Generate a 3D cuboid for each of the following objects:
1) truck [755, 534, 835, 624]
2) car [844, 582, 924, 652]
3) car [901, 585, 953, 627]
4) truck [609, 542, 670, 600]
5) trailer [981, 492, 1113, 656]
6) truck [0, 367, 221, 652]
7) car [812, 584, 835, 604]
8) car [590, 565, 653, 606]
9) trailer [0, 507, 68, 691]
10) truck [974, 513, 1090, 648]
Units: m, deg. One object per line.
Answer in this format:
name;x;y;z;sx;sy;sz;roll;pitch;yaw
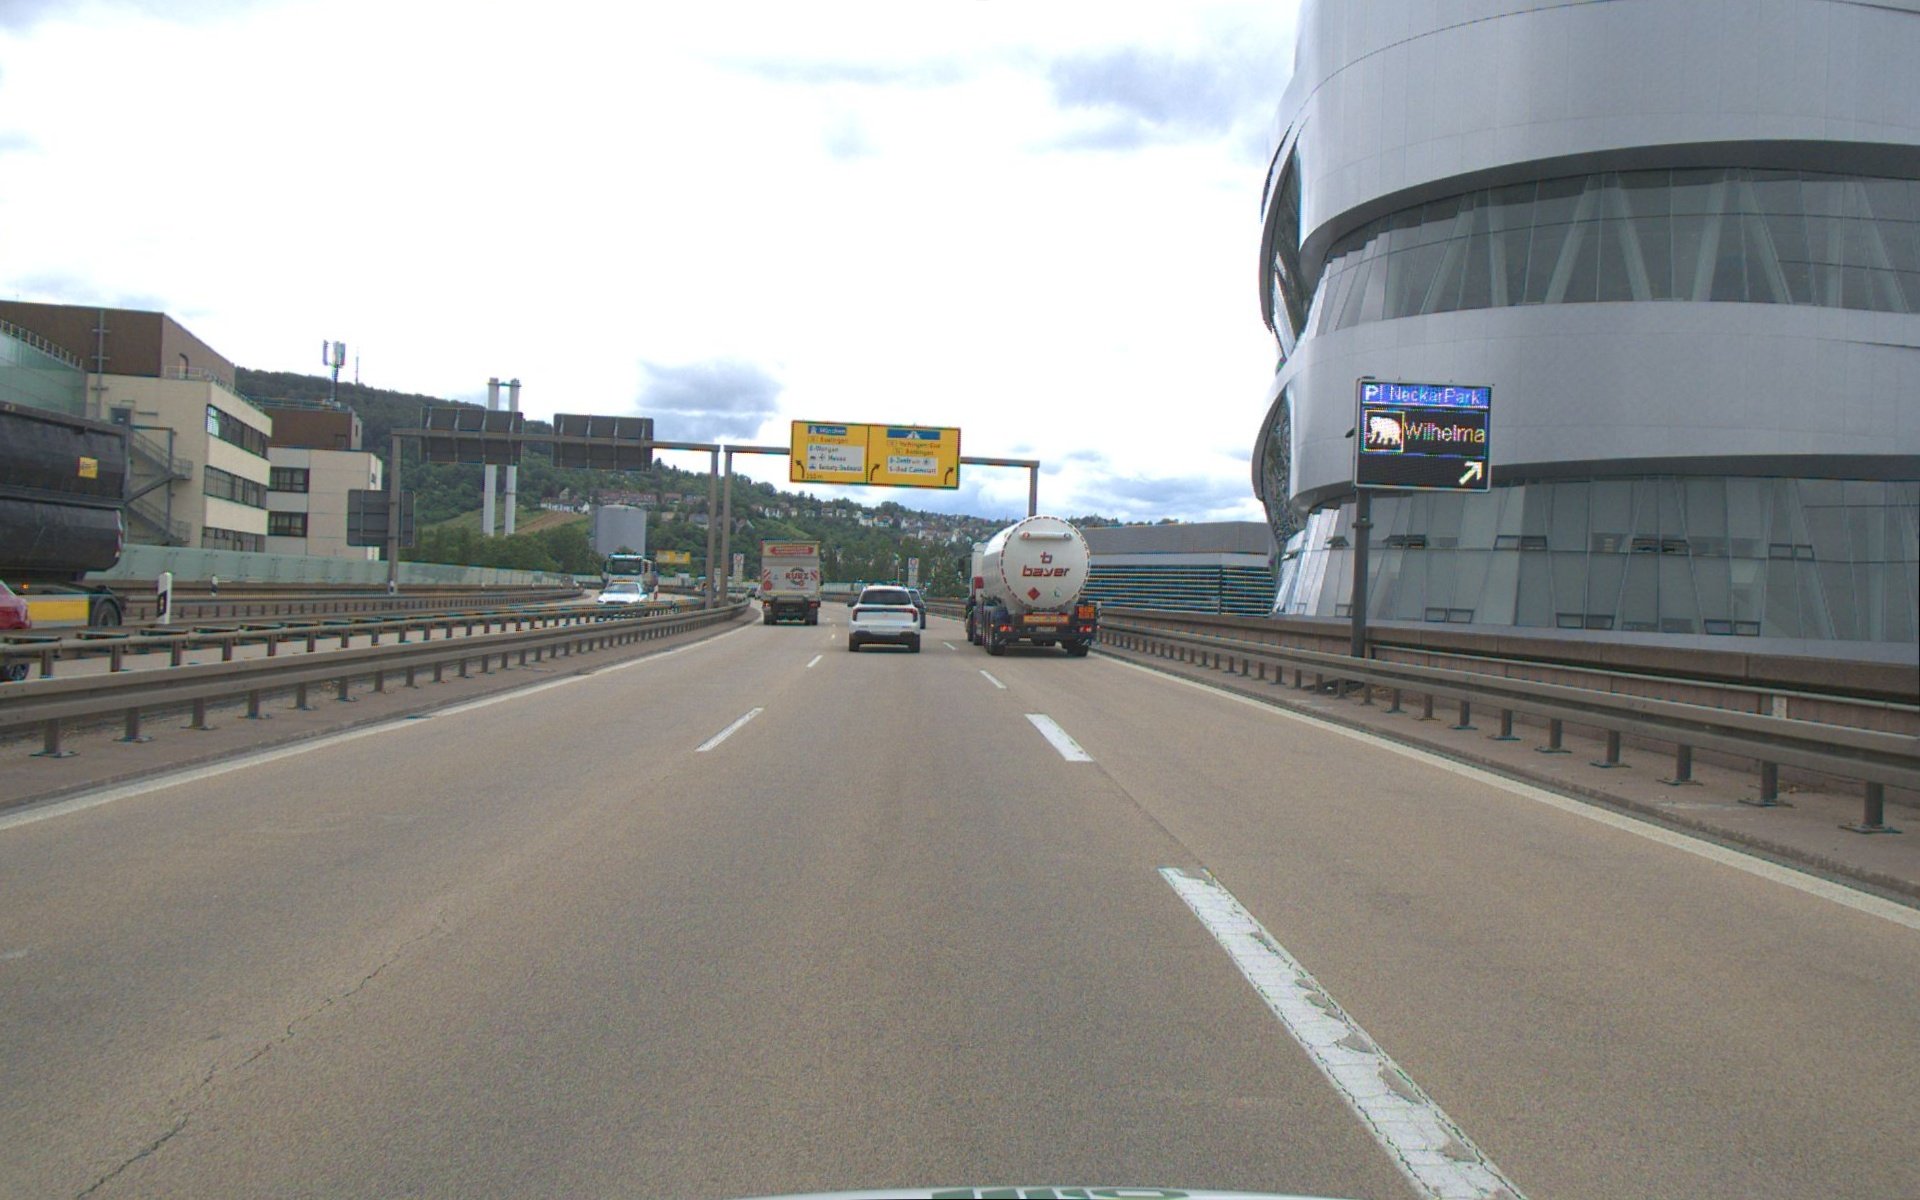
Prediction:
truck;-7.309;-0.894;74.254;2.995;3.755;8.300;1;0;-2
car;-1.944;0.435;43.494;1.953;1.704;4.407;1;0;-1
car;-1.423;0.257;69.394;1.954;1.704;4.404;1;0;-4
truck;-22.419;-1.941;116.316;2.998;3.842;12.503;1;0;-6
trailer;2.136;-0.615;43.724;2.994;3.856;8.303;1;0;0
truck;-15.535;-1.329;27.220;2.995;4.136;8.660;1;0;-2
car;-11.830;-0.536;143.766;1.649;1.679;4.358;2;0;-1
car;-14.256;-0.570;69.898;1.954;1.634;4.803;1;0;-4
trailer;-11.628;-0.022;17.786;1.953;2.049;3.999;1;1;-1
truck;2.044;-0.542;49.317;2.953;3.721;6.271;1;0;-2
